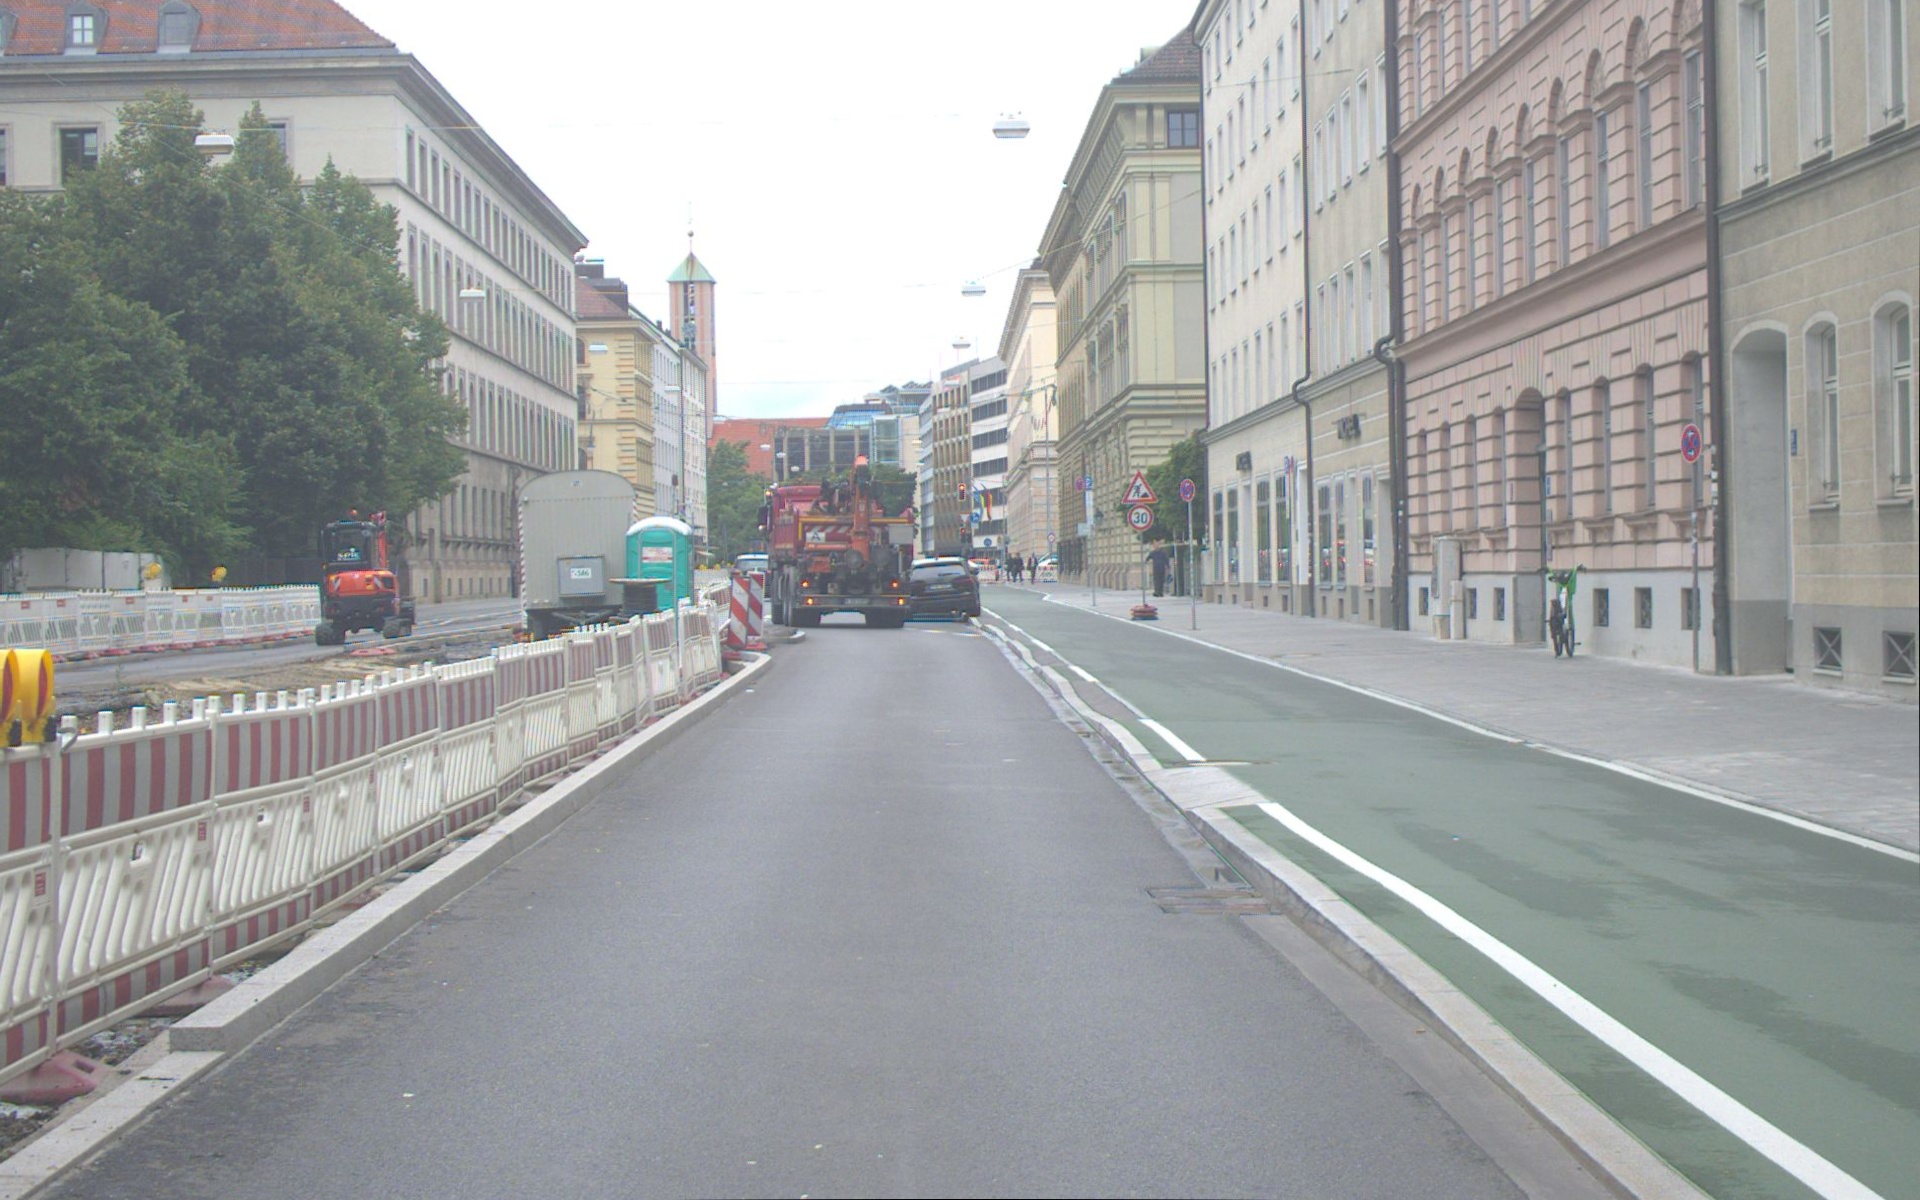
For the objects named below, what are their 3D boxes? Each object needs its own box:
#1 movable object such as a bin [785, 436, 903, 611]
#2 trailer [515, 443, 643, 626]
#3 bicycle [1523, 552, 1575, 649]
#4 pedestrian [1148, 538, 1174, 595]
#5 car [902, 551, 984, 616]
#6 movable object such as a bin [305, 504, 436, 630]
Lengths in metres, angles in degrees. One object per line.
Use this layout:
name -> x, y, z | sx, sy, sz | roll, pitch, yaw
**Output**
movable object such as a bin -> -2.505, -1.613, 74.124 | 2.423, 3.599, 5.852 | 0, 1, -2
trailer -> -7.191, -1.214, 65.272 | 2.226, 3.232, 7.520 | -1, 1, -6
bicycle -> 7.391, -0.005, 43.116 | 0.426, 1.170, 1.730 | -1, 1, 16
pedestrian -> 6.593, -1.101, 112.960 | 0.790, 1.830, 0.777 | -1, 1, 0
car -> -0.438, -0.411, 82.591 | 1.801, 1.475, 4.687 | -1, 1, -2
movable object such as a bin -> -12.276, -0.703, 71.849 | 1.924, 2.563, 4.492 | 0, 1, 0
